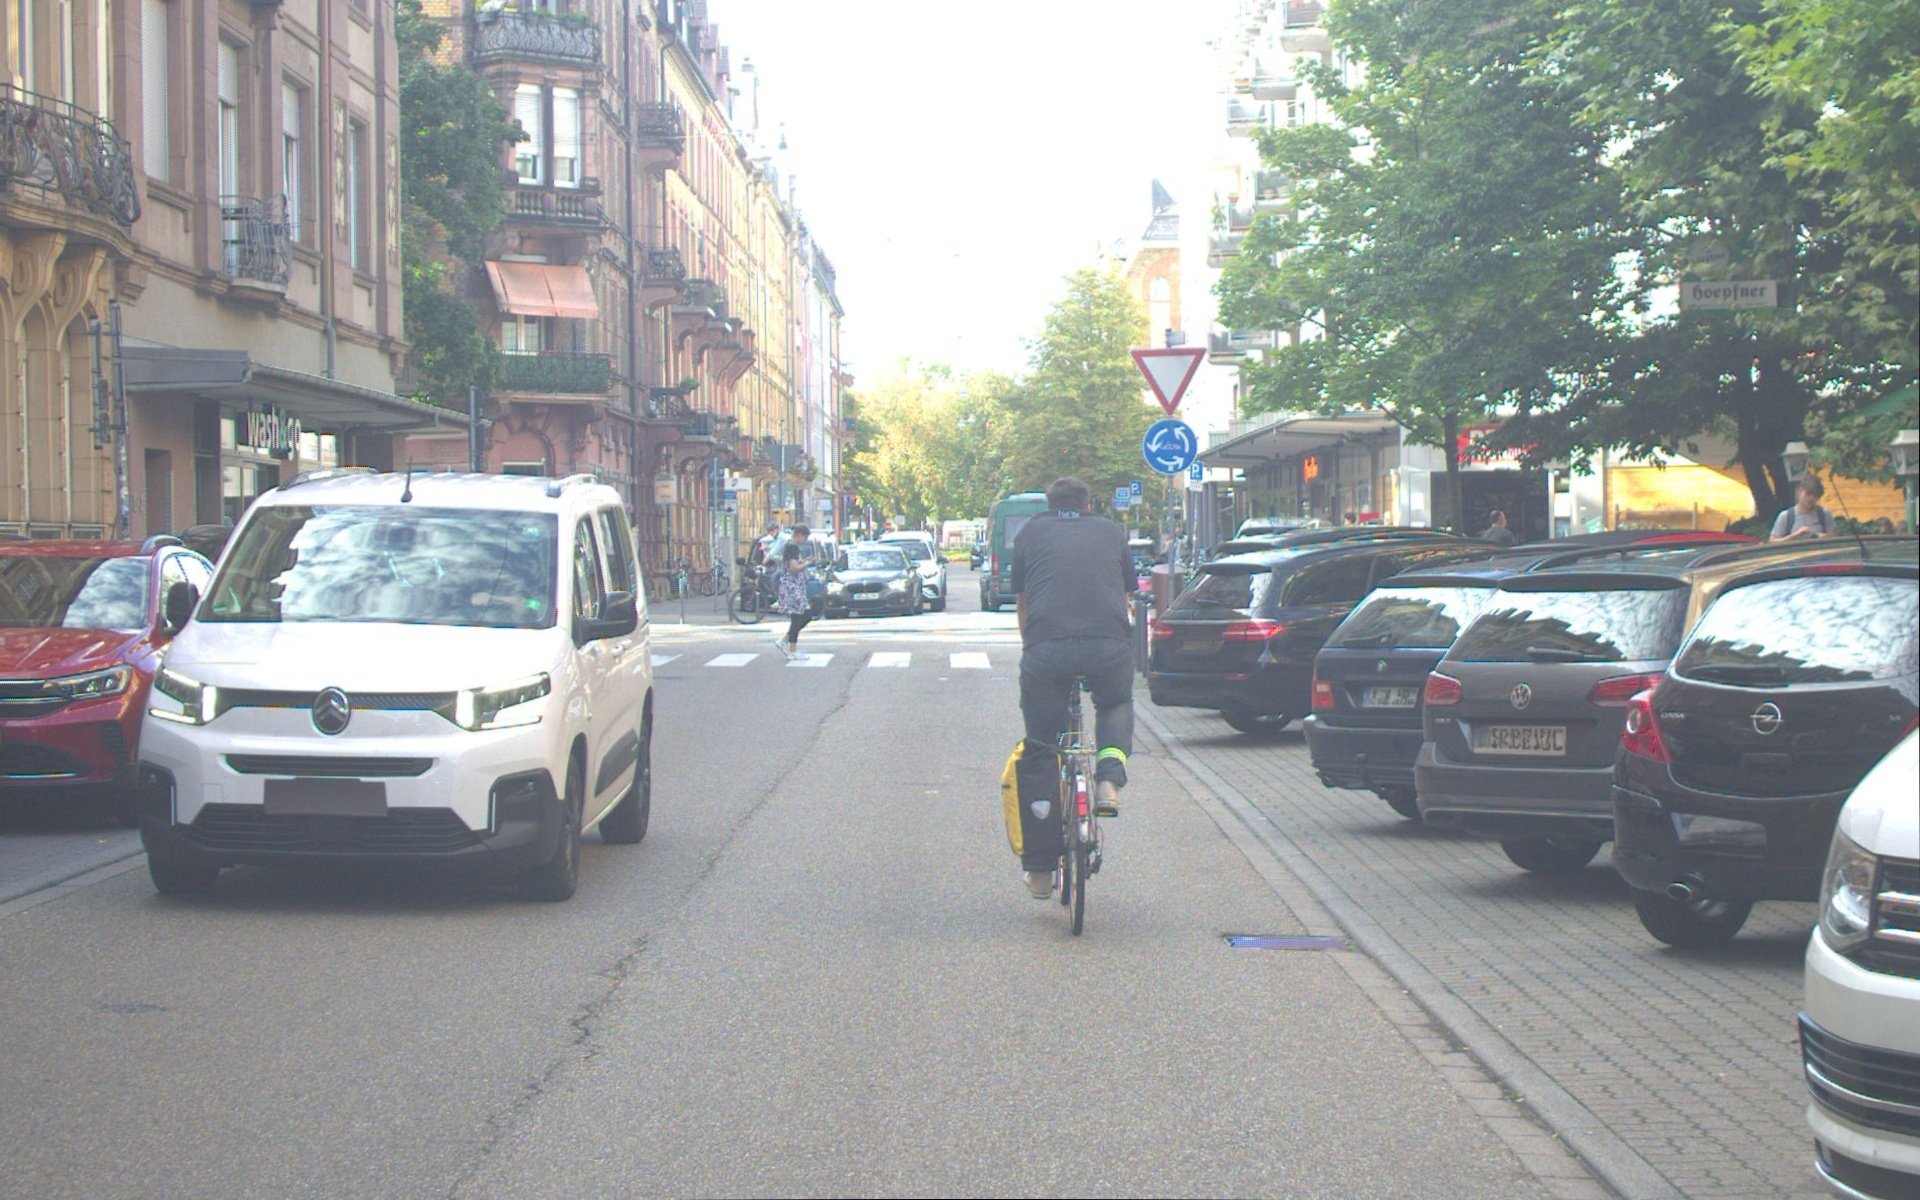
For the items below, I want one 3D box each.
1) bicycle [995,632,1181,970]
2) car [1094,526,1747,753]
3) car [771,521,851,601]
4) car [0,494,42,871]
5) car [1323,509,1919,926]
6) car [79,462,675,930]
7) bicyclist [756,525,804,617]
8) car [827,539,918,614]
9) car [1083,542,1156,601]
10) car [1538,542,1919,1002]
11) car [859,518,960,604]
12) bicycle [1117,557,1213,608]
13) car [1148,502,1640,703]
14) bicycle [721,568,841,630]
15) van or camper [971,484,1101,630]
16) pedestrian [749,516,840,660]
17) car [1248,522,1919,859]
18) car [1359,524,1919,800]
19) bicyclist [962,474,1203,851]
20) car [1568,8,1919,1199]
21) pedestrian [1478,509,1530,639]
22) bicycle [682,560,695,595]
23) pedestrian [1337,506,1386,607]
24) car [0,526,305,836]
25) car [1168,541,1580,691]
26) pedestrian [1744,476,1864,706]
[{"bbox_3d":[0.482,0.751,13.890,0.666,1.174,2.497,1,1,0],"label":"bicycle"},{"bbox_3d":[3.654,0.248,27.136,4.752,1.452,2.057,-3,3,-27],"label":"car"},{"bbox_3d":[-3.897,-1.046,90.301,1.993,2.007,4.000,-1,1,-2],"label":"car"},{"bbox_3d":[-5.098,0.403,13.615,1.872,1.675,4.895,1,2,-3],"label":"car"},{"bbox_3d":[3.948,0.412,15.808,4.456,1.472,1.889,-5,3,-39],"label":"car"},{"bbox_3d":[-2.488,0.344,15.783,1.917,1.822,4.438,1,1,1],"label":"car"},{"bbox_3d":[-3.297,-0.540,63.046,0.854,1.660,0.790,1,1,-2],"label":"bicyclist"},{"bbox_3d":[-1.747,-0.467,68.691,1.750,1.431,4.212,0,0,-1],"label":"car"},{"bbox_3d":[3.851,-0.712,83.415,1.645,1.320,3.576,-3,1,2],"label":"car"},{"bbox_3d":[4.184,0.509,13.072,3.983,1.454,1.750,-3,2,-41],"label":"car"},{"bbox_3d":[-1.104,-0.902,77.491,1.943,1.716,4.850,-2,2,2],"label":"car"},{"bbox_3d":[4.343,-0.368,72.922,2.000,1.042,0.532,-1,1,3],"label":"bicycle"},{"bbox_3d":[4.186,-0.010,33.106,4.340,1.639,1.822,-4,2,-25],"label":"car"},{"bbox_3d":[-3.278,-0.013,63.052,2.184,1.088,0.678,1,1,-2],"label":"bicycle"},{"bbox_3d":[1.601,-0.938,74.340,2.531,3.027,4.459,-1,1,-2],"label":"van or camper"},{"bbox_3d":[-2.080,-0.154,43.261,0.783,1.773,0.791,0,1,39],"label":"pedestrian"},{"bbox_3d":[3.921,0.397,18.712,4.455,1.459,1.879,-4,3,-34],"label":"car"},{"bbox_3d":[4.474,0.325,21.585,3.708,1.480,1.741,-3,2,-37],"label":"car"},{"bbox_3d":[0.488,0.242,13.951,0.933,1.478,0.747,1,1,1],"label":"bicyclist"},{"bbox_3d":[3.894,0.094,7.273,5.143,2.397,1.918,-2,1,-32],"label":"car"},{"bbox_3d":[7.351,-0.356,46.417,0.629,1.733,0.775,-1,1,13],"label":"pedestrian"},{"bbox_3d":[-7.366,-0.609,93.262,0.360,0.944,1.716,0,1,-4],"label":"bicycle"},{"bbox_3d":[7.383,-0.798,63.292,0.869,1.845,0.612,-1,1,6],"label":"pedestrian"},{"bbox_3d":[-5.096,0.385,19.353,1.993,1.539,4.427,-1,1,-1],"label":"car"},{"bbox_3d":[4.313,0.135,35.740,3.931,1.452,1.770,-1,1,-27],"label":"car"},{"bbox_3d":[7.003,-0.081,28.541,0.839,1.871,0.723,-1,1,5],"label":"pedestrian"}]
